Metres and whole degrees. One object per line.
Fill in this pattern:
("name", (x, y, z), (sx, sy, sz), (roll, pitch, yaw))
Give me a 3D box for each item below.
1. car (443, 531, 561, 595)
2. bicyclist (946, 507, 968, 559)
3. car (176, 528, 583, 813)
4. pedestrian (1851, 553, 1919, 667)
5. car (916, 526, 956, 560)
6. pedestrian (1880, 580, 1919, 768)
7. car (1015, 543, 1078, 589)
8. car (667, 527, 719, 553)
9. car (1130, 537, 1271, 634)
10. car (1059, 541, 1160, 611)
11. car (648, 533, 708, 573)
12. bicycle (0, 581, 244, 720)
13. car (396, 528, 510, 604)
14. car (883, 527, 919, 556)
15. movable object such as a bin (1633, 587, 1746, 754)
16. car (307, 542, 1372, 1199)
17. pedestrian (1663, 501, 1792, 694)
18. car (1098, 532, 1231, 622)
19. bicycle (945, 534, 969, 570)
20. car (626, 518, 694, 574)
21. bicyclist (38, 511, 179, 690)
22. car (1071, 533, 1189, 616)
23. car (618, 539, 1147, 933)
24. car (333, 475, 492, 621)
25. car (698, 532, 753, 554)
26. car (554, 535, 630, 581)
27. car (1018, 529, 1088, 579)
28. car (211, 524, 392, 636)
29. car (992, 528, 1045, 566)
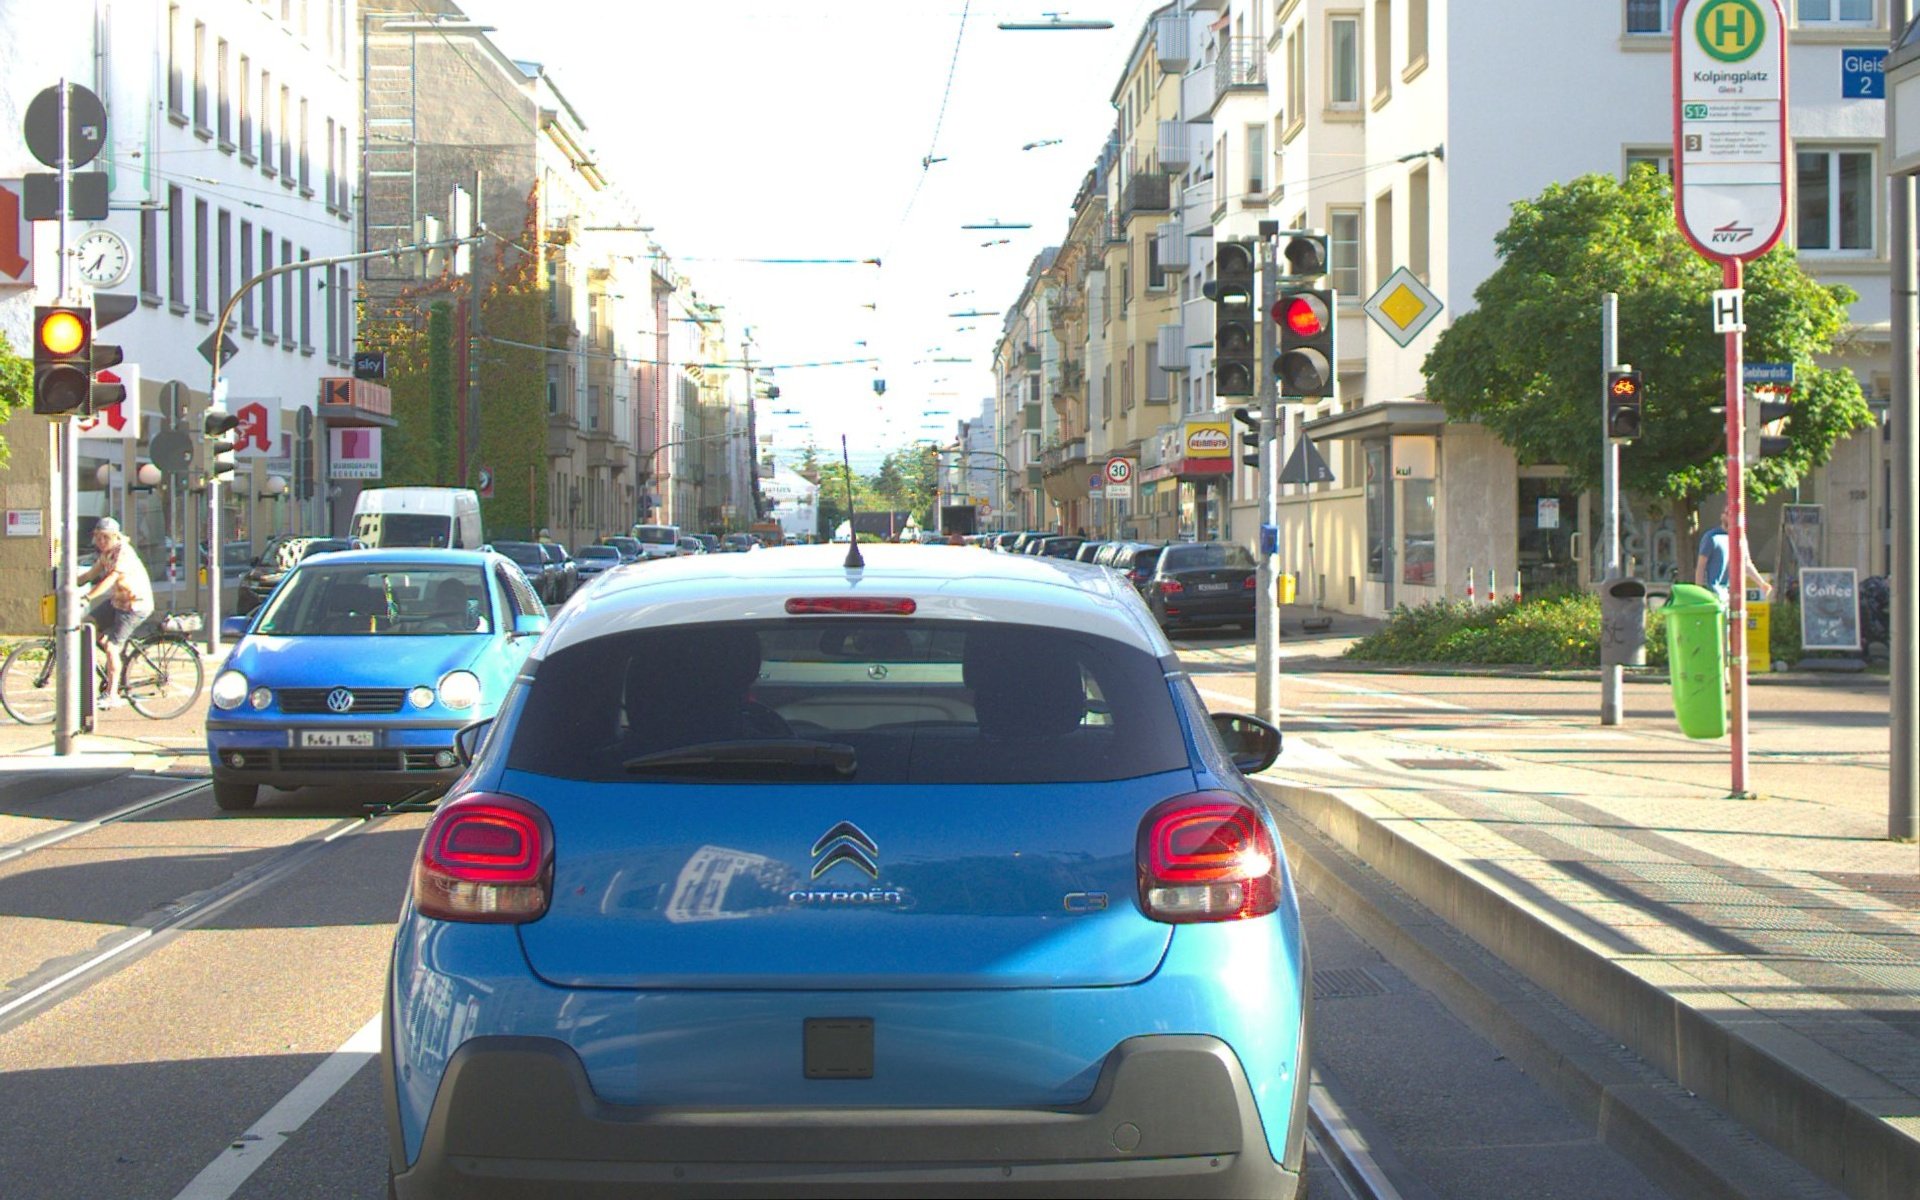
("car", (-10.506, -0.850, 79.119), (1.993, 1.393, 4.157), (1, 1, 2))
("bicyclist", (-0.132, -2.590, 133.394), (0.809, 2.007, 0.922), (1, 0, -1))
("car", (-3.297, 0.336, 20.214), (1.667, 1.482, 4.000), (1, 1, 0))
("pedestrian", (10.803, 0.109, 40.038), (0.741, 1.311, 0.627), (1, 1, 23))
("car", (-1.248, -2.923, 176.037), (1.993, 1.766, 4.000), (0, 1, -1))
("pedestrian", (6.381, 0.486, 22.629), (0.558, 1.221, 0.526), (1, 0, 10))
("car", (2.766, -1.105, 110.928), (1.993, 1.459, 4.000), (0, 1, 1))
("car", (-11.762, -2.651, 151.705), (1.993, 1.152, 4.000), (0, 1, 0))
("car", (3.696, -0.251, 53.346), (1.909, 1.459, 4.000), (0, 1, 0))
("car", (3.183, -0.534, 73.730), (1.993, 1.459, 4.000), (0, 1, 0))
("car", (-11.274, -1.887, 137.602), (1.955, 1.547, 3.938), (1, 1, 2))
("bicycle", (-7.007, 0.405, 28.493), (1.970, 1.109, 0.730), (0, 1, -34))
("car", (-10.363, -0.699, 70.520), (1.888, 1.491, 3.562), (1, 1, -2))
("car", (-3.665, -3.660, 214.413), (1.993, 1.772, 4.001), (0, 1, -4))
("movable object such as a bin", (3.498, 0.332, 16.494), (0.449, 0.783, 0.489), (0, 1, 2))
("car", (-0.227, 0.631, 7.559), (1.728, 1.477, 3.827), (1, 1, -1))
("pedestrian", (7.598, -0.026, 34.085), (0.981, 1.871, 1.129), (0, 0, -3))
("car", (3.394, -0.402, 57.796), (1.993, 1.459, 4.000), (0, 1, 0))
("bicycle", (-0.124, -1.862, 133.275), (0.920, 1.384, 3.132), (0, 1, 0))
("car", (-11.134, -1.988, 127.905), (2.006, 2.007, 4.689), (1, 1, 1))
("bicyclist", (-7.049, -0.001, 28.459), (0.874, 1.450, 0.830), (1, 0, -34))
("car", (3.123, -0.486, 63.897), (1.993, 1.496, 4.000), (0, 1, 0))
("car", (-0.328, 0.475, 15.472), (1.984, 1.459, 4.816), (1, 1, -1))
("car", (-10.074, -0.970, 63.741), (2.085, 2.533, 6.206), (1, 1, -2))
("car", (-12.657, -3.079, 185.597), (1.994, 1.152, 4.513), (0, 1, 9))
("car", (-11.154, -1.272, 104.422), (1.993, 1.320, 3.923), (1, 1, -2))
("car", (2.761, -1.396, 103.052), (1.993, 1.459, 4.504), (0, 1, 0))
("car", (-10.168, -0.325, 53.388), (1.993, 1.563, 4.403), (3, 0, -2))
("car", (2.261, -2.058, 134.131), (1.993, 1.459, 4.000), (0, 1, 0))
